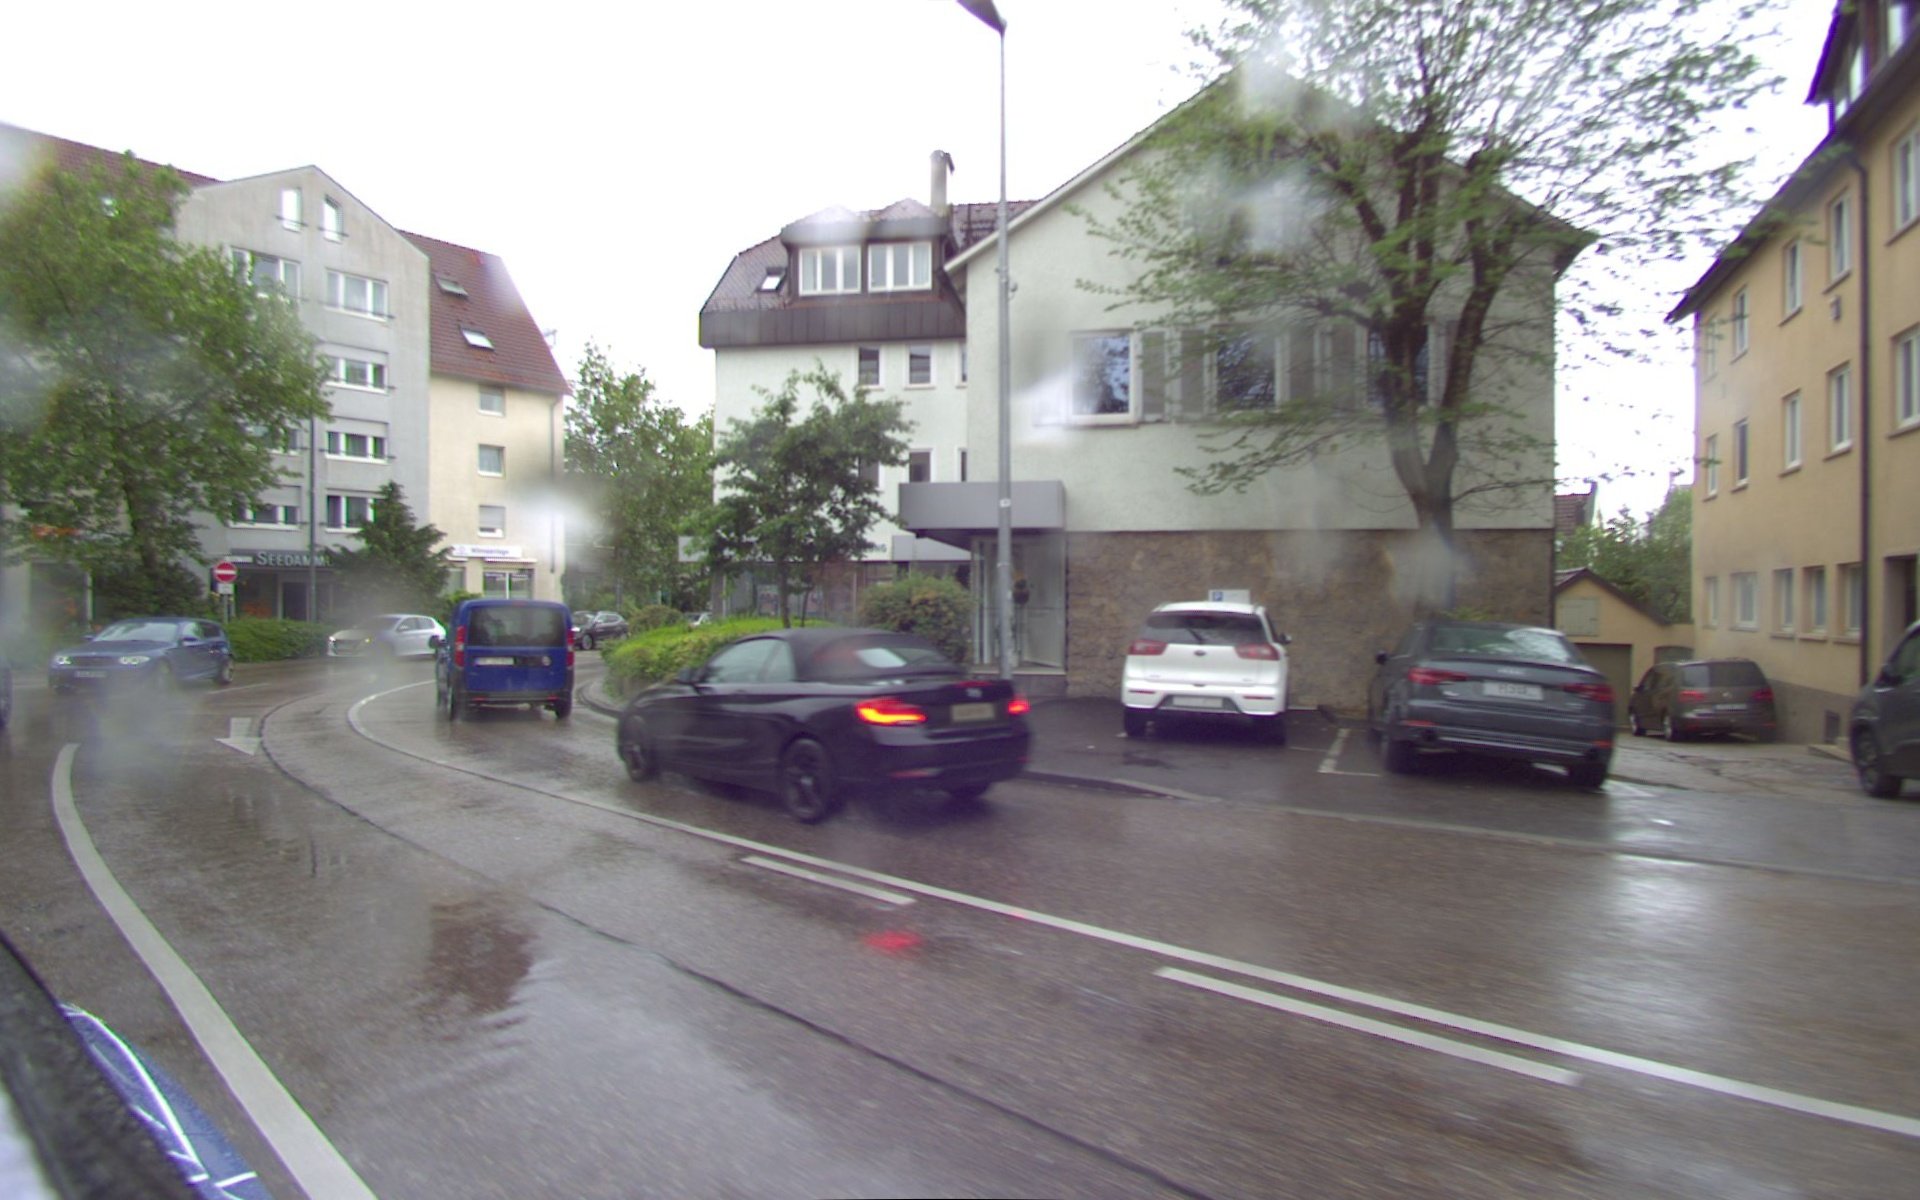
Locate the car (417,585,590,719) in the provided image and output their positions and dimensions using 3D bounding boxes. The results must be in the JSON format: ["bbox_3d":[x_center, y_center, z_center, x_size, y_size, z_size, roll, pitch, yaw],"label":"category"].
[{"bbox_3d":[-7.628,0.846,16.668,1.966,1.896,4.390,4,-4,-31],"label":"car"}]

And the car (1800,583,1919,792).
[{"bbox_3d":[9.444,0.748,8.680,1.950,1.840,4.896,-3,-7,22],"label":"car"}]

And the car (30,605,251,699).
[{"bbox_3d":[-16.164,1.097,20.276,1.745,1.544,4.389,-4,-4,-15],"label":"car"}]

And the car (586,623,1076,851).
[{"bbox_3d":[-1.283,0.901,8.445,4.264,1.397,1.840,-1,-1,45],"label":"car"}]

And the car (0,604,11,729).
[{"bbox_3d":[-11.389,0.775,10.226,1.967,1.504,4.325,1,-1,-34],"label":"car"}]

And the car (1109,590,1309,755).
[{"bbox_3d":[3.007,0.752,12.157,1.982,1.641,3.627,0,-1,15],"label":"car"}]

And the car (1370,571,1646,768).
[{"bbox_3d":[5.152,0.677,9.742,1.890,1.465,3.962,-1,-5,27],"label":"car"}]

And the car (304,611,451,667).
[{"bbox_3d":[-17.740,1.147,31.063,1.794,1.577,3.989,1,-1,9],"label":"car"}]
